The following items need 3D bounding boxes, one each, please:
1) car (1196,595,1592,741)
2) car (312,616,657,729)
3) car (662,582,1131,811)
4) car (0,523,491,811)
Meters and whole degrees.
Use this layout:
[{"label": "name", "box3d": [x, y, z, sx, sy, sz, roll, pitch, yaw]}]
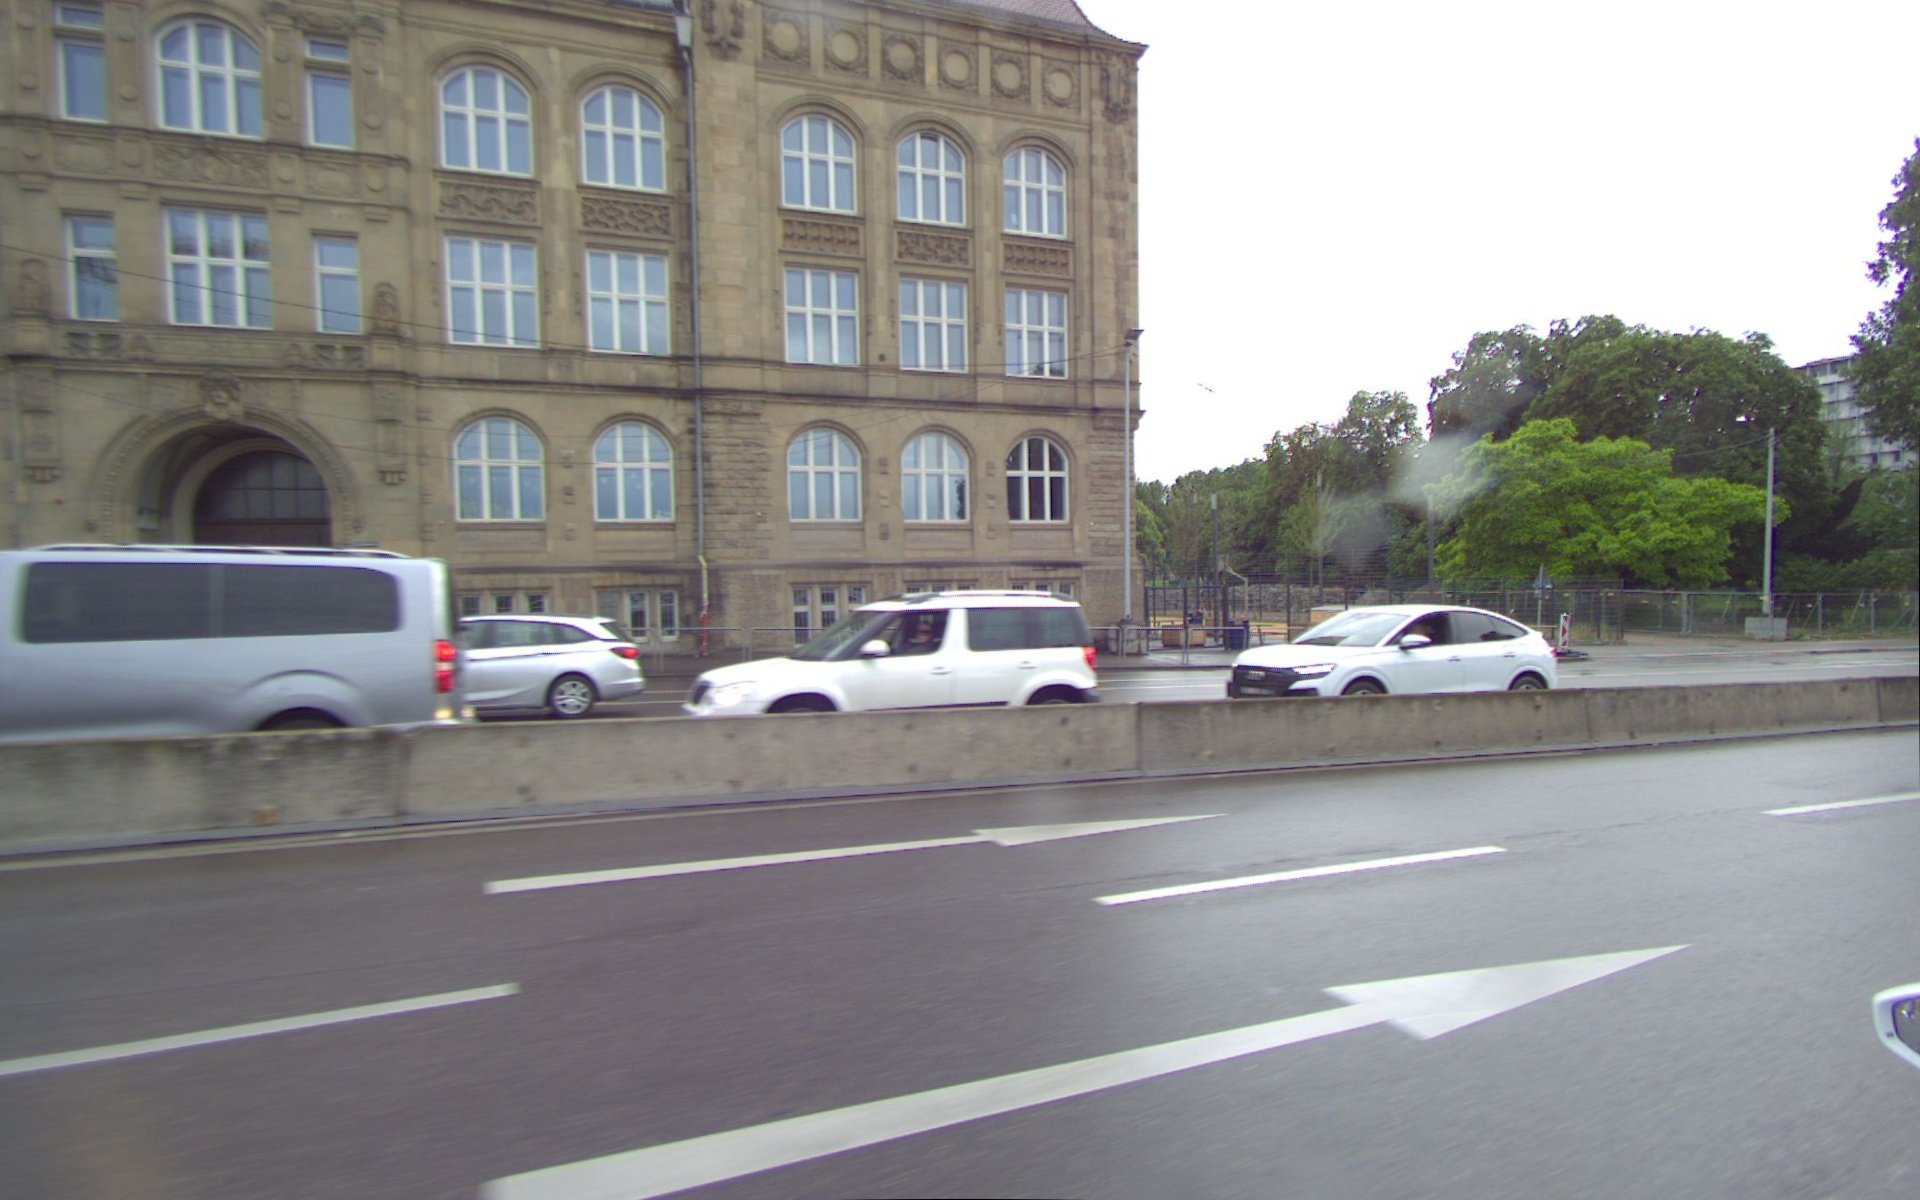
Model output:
[{"label": "car", "box3d": [5.553, 0.781, 12.801, 4.830, 1.588, 1.889, 0, -1, -24]}, {"label": "car", "box3d": [-6.627, 0.934, 14.284, 4.159, 1.400, 1.986, 1, -1, -28]}, {"label": "car", "box3d": [-0.631, 0.832, 10.053, 4.318, 1.891, 1.904, 0, -1, -24]}, {"label": "car", "box3d": [-6.602, 0.460, 7.543, 5.517, 1.891, 1.989, 0, -1, -24]}]
